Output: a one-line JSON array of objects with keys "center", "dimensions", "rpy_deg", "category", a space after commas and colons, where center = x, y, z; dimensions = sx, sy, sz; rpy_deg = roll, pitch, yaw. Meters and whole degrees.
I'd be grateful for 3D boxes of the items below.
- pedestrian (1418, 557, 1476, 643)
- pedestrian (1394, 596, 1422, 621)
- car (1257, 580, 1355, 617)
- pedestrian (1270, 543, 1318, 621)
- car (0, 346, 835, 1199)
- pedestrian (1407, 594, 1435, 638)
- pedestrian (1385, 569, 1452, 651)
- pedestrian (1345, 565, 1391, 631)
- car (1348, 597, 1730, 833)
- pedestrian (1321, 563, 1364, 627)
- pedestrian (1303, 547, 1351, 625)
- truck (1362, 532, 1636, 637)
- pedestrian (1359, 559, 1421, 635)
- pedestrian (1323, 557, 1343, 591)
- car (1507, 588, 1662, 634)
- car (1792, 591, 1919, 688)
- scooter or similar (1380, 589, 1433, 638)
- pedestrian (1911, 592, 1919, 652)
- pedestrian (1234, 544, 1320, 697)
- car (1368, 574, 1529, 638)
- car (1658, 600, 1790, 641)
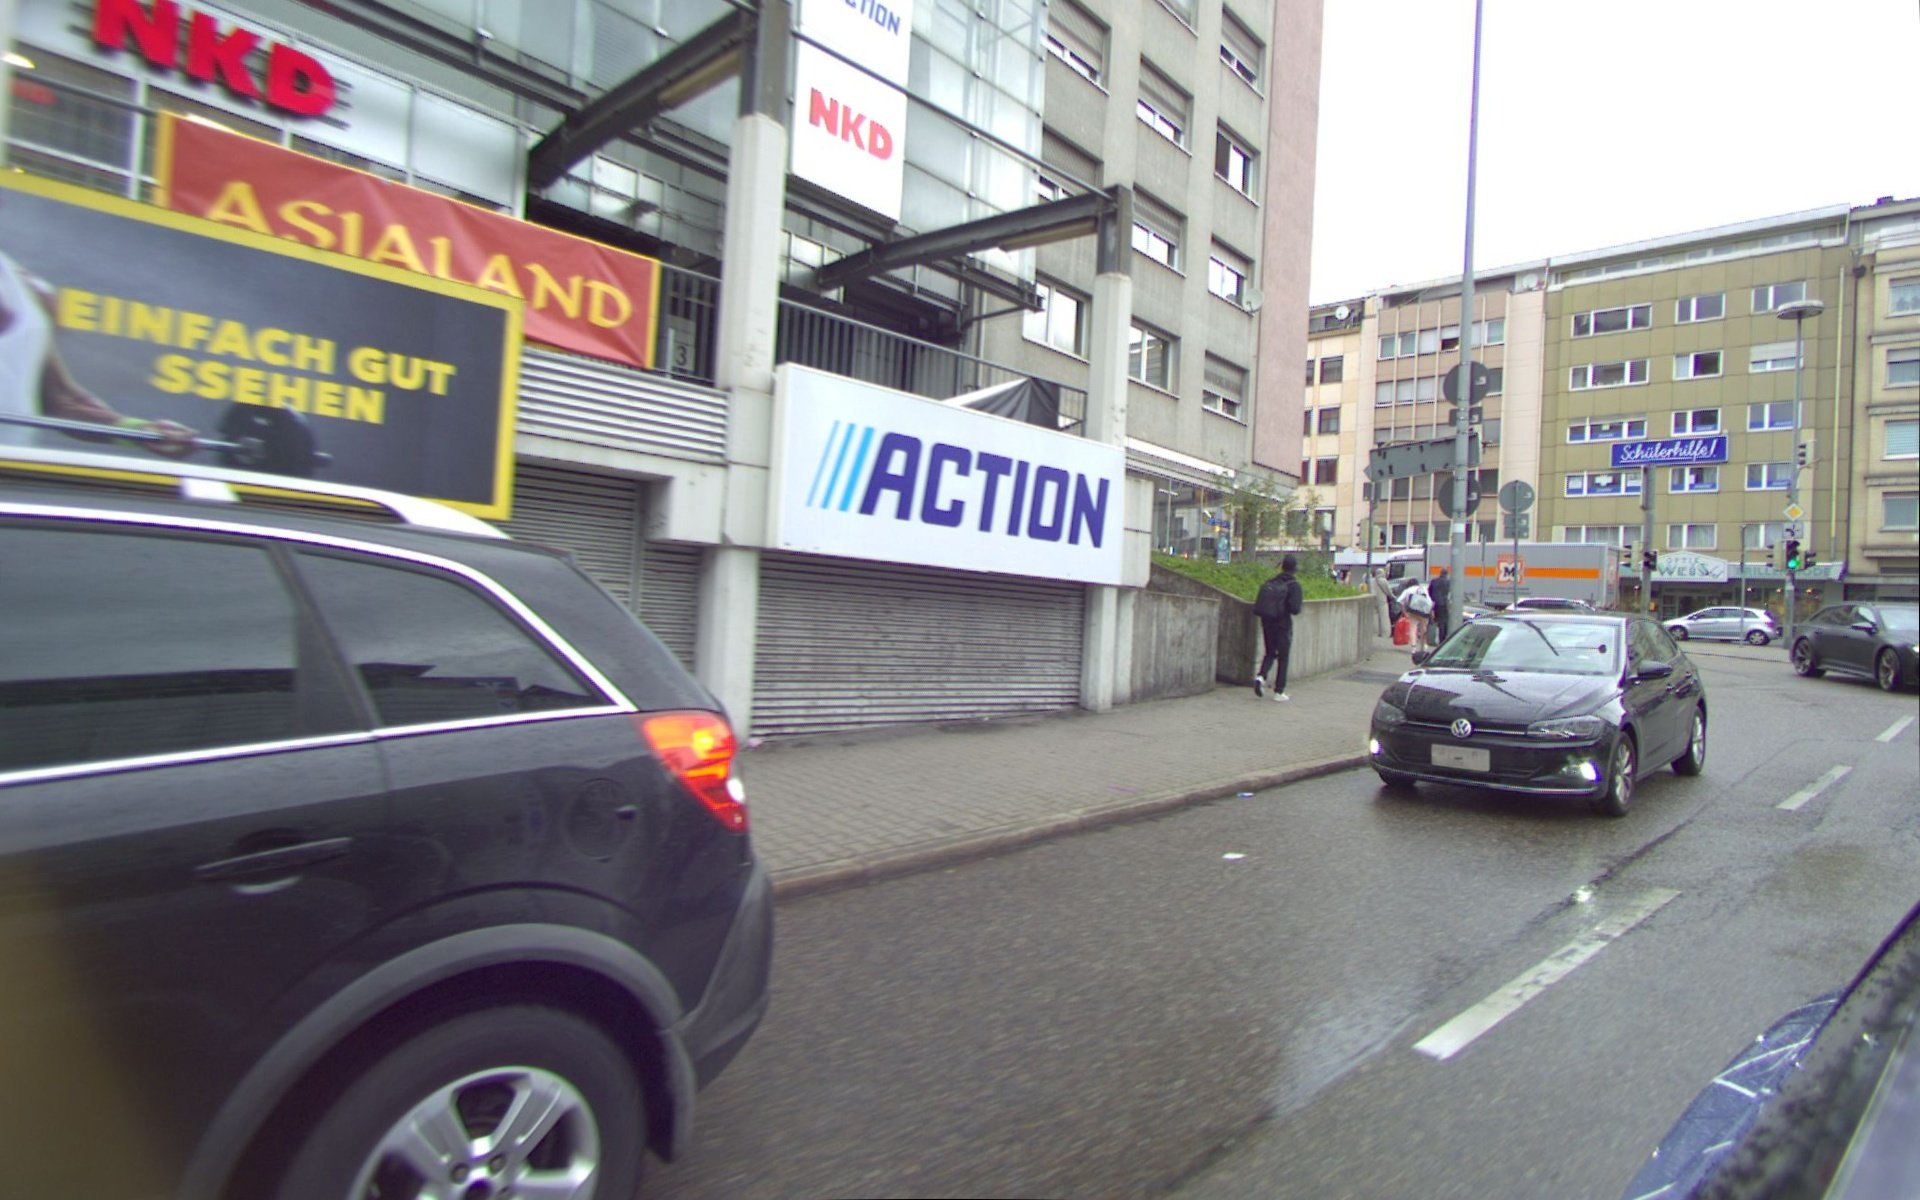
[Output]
[{"center": [11.375, -0.014, 23.656], "dimensions": [0.605, 1.889, 0.789], "rpy_deg": [7, 2, -30], "category": "pedestrian"}, {"center": [11.126, 0.203, 25.129], "dimensions": [0.364, 0.578, 0.459], "rpy_deg": [5, -1, -27], "category": "pedestrian"}, {"center": [19.562, -0.114, 57.392], "dimensions": [1.825, 1.850, 4.951], "rpy_deg": [2, 1, -45], "category": "car"}, {"center": [8.768, -0.473, 26.537], "dimensions": [0.805, 1.955, 0.732], "rpy_deg": [4, 0, -38], "category": "pedestrian"}, {"center": [-2.505, 0.509, 1.659], "dimensions": [4.228, 1.808, 1.909], "rpy_deg": [2, 0, -43], "category": "car"}, {"center": [11.180, 0.383, 24.562], "dimensions": [0.256, 1.012, 0.473], "rpy_deg": [8, -2, -23], "category": "pedestrian"}, {"center": [9.373, 0.188, 20.724], "dimensions": [1.046, 1.550, 1.020], "rpy_deg": [5, 3, 20], "category": "pedestrian"}, {"center": [11.104, -0.055, 27.550], "dimensions": [0.836, 1.656, 0.532], "rpy_deg": [8, 1, 44], "category": "pedestrian"}, {"center": [4.934, 0.726, 8.403], "dimensions": [3.815, 1.448, 1.739], "rpy_deg": [-1, 1, -43], "category": "car"}, {"center": [10.498, -0.156, 27.773], "dimensions": [0.731, 1.654, 0.597], "rpy_deg": [7, 1, -5], "category": "pedestrian"}, {"center": [9.502, -0.354, 26.194], "dimensions": [0.823, 1.887, 0.658], "rpy_deg": [7, 1, -42], "category": "pedestrian"}, {"center": [24.681, -0.847, 47.030], "dimensions": [10.739, 4.387, 2.810], "rpy_deg": [3, 1, 44], "category": "truck"}, {"center": [10.568, -0.078, 24.872], "dimensions": [1.018, 1.744, 0.839], "rpy_deg": [5, -1, -29], "category": "pedestrian"}, {"center": [9.647, -0.677, 26.186], "dimensions": [0.216, 0.857, 0.442], "rpy_deg": [1, 1, -25], "category": "pedestrian"}, {"center": [23.132, 0.394, 37.625], "dimensions": [4.617, 1.433, 1.769], "rpy_deg": [3, 0, 44], "category": "car"}, {"center": [16.603, 0.682, 17.407], "dimensions": [1.975, 1.510, 4.703], "rpy_deg": [3, 1, 20], "category": "car"}, {"center": [11.091, 0.327, 25.145], "dimensions": [0.953, 1.123, 0.656], "rpy_deg": [5, -1, -27], "category": "scooter or similar"}, {"center": [24.633, 0.573, 25.702], "dimensions": [0.695, 1.506, 0.560], "rpy_deg": [1, 2, -41], "category": "pedestrian"}, {"center": [4.049, 0.253, 12.909], "dimensions": [0.599, 1.863, 0.996], "rpy_deg": [3, 0, 44], "category": "pedestrian"}, {"center": [13.334, 0.112, 27.916], "dimensions": [1.834, 1.566, 4.112], "rpy_deg": [2, 1, -11], "category": "car"}, {"center": [33.124, 0.839, 43.941], "dimensions": [4.386, 1.570, 1.824], "rpy_deg": [2, 1, 44], "category": "car"}]
